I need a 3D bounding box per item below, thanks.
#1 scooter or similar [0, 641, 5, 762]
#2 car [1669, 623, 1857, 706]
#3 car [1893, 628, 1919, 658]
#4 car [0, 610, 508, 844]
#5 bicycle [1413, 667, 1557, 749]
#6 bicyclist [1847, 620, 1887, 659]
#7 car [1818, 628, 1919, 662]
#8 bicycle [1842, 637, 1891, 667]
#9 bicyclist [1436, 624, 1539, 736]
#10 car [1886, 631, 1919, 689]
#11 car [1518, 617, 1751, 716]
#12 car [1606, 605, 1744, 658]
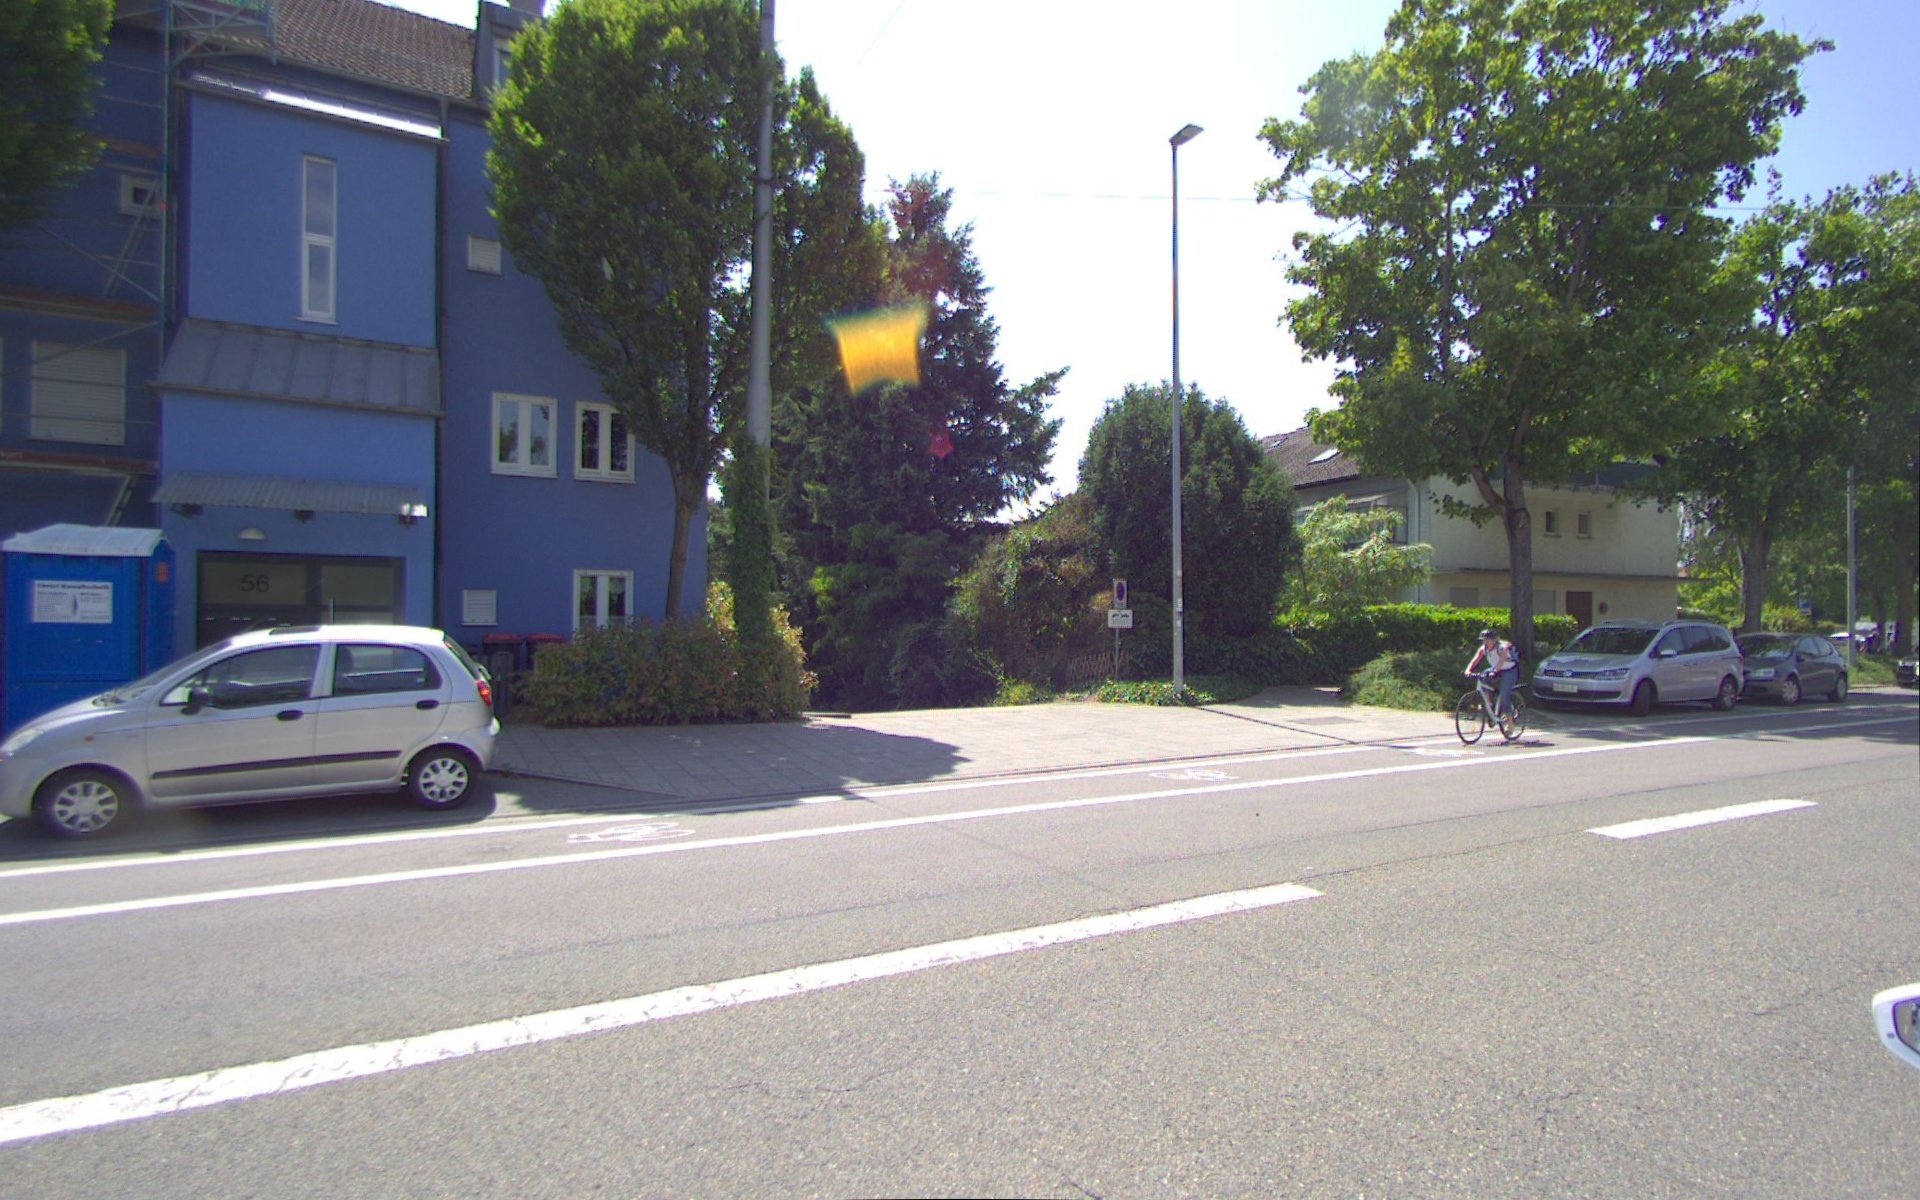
[{"bbox_3d":[-9.649,0.961,9.224,1.168,1.160,0.452,1,-1,-28],"label":"scooter or similar"},{"bbox_3d":[17.382,1.330,21.718,4.132,1.585,1.810,1,0,-30],"label":"car"},{"bbox_3d":[53.364,2.321,54.012,1.885,1.606,4.334,1,-2,-23],"label":"car"},{"bbox_3d":[-5.754,0.921,8.454,3.407,1.516,1.585,1,4,-30],"label":"car"},{"bbox_3d":[7.128,1.428,13.604,2.219,0.963,0.698,0,-3,-33],"label":"bicycle"},{"bbox_3d":[33.369,1.451,36.958,0.817,1.392,0.806,2,0,-27],"label":"bicyclist"},{"bbox_3d":[46.377,2.251,50.712,1.891,1.606,4.321,1,-2,-31],"label":"car"},{"bbox_3d":[33.359,1.902,36.961,1.805,1.043,0.698,2,0,-27],"label":"bicycle"},{"bbox_3d":[7.153,1.071,13.623,1.113,1.449,0.731,1,-4,-33],"label":"bicyclist"},{"bbox_3d":[27.482,1.648,27.595,4.397,1.496,1.810,1,0,-30],"label":"car"},{"bbox_3d":[12.933,1.180,19.190,4.724,1.687,1.864,1,0,-30],"label":"car"},{"bbox_3d":[45.816,1.971,64.617,2.337,3.005,6.817,2,0,-30],"label":"car"}]
